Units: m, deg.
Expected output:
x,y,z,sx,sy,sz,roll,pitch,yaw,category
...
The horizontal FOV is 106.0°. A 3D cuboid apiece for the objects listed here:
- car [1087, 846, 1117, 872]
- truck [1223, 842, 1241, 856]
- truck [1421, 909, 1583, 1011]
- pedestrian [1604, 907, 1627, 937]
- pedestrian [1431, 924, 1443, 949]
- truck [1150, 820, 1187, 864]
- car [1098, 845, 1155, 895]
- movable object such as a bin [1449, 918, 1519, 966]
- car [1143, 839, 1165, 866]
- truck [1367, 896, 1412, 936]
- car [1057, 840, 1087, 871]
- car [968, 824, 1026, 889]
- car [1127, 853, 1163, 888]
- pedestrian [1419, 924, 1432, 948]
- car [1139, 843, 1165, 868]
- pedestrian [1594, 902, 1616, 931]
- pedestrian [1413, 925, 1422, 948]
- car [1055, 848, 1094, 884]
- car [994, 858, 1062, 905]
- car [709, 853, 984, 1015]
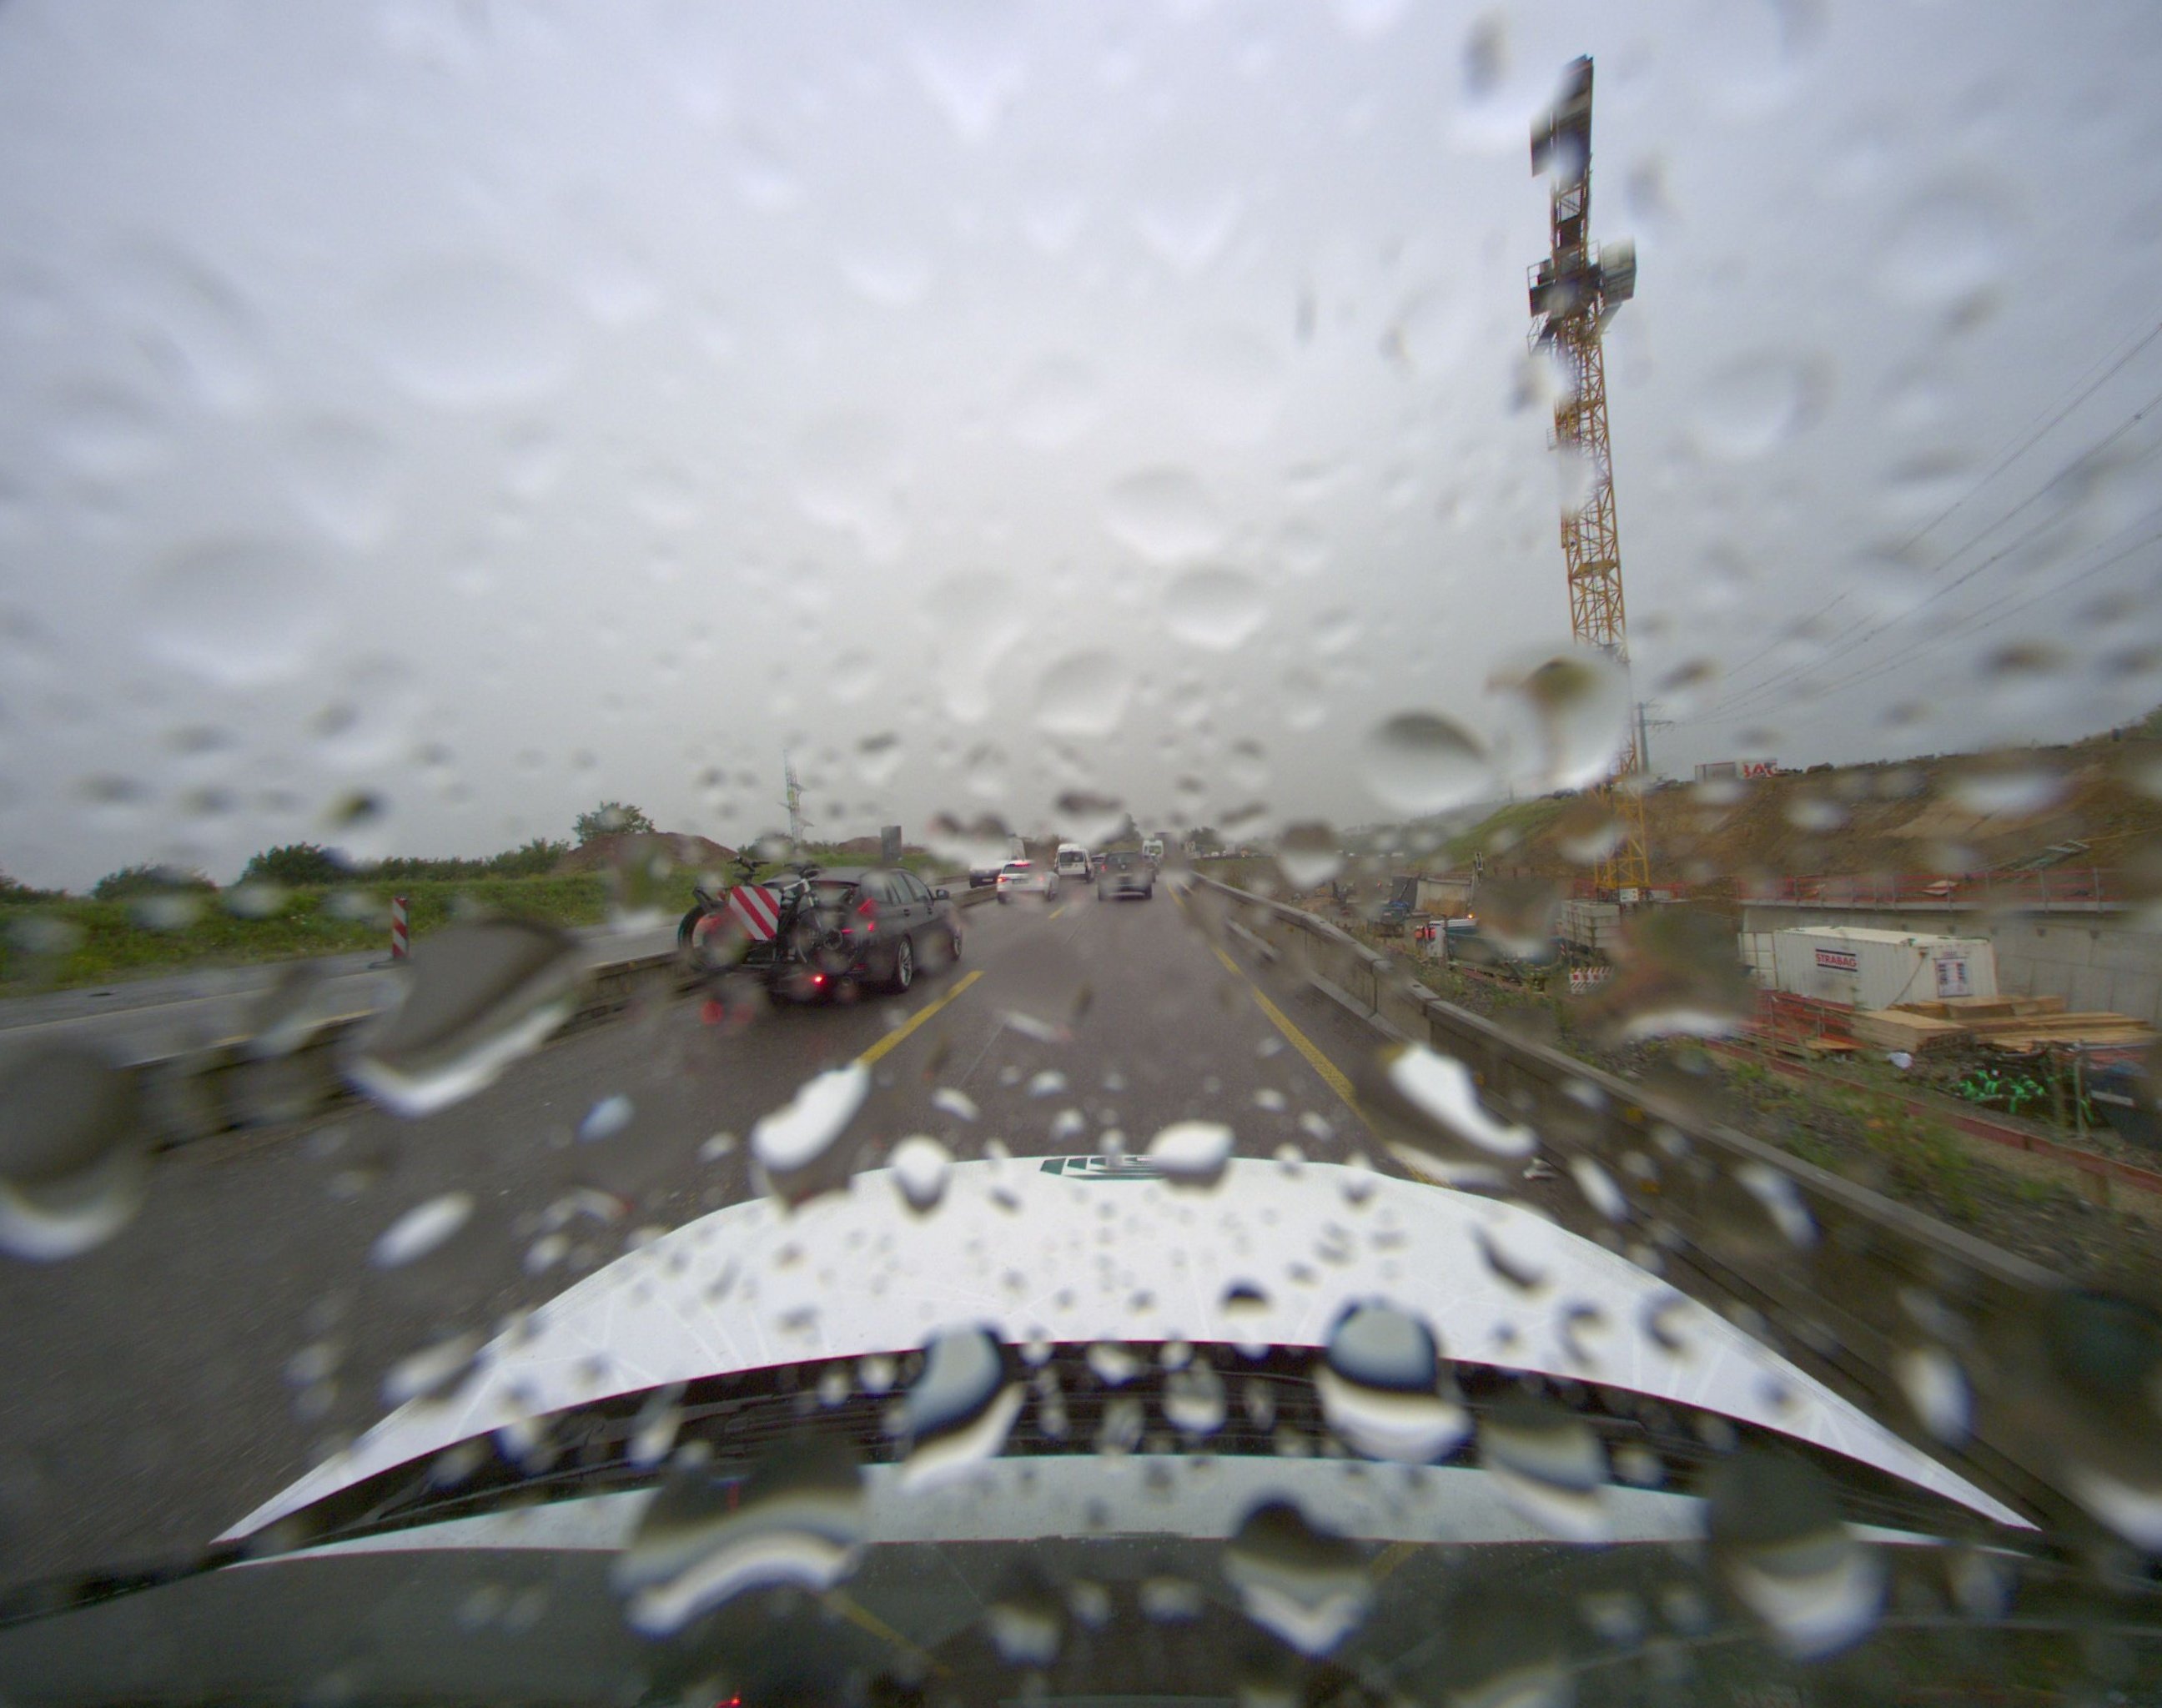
x,y,z,sx,sy,sz,roll,pitch,yaw,category
1.556,0.369,59.588,1.817,1.815,4.007,-1,-1,6,car
41.073,-1.306,220.599,3.444,3.715,8.458,-2,0,19,truck
18.563,4.509,36.761,2.690,3.503,8.947,-1,-1,0,truck
39.195,4.973,59.727,0.897,1.999,0.901,9,0,11,pedestrian
29.050,6.729,66.441,0.726,1.944,0.578,-2,-2,44,pedestrian
10.838,-1.312,99.905,3.521,5.077,10.471,-1,-1,10,truck
1.638,0.551,28.558,1.818,1.591,4.005,-1,-1,5,car
25.435,5.505,51.516,3.133,2.738,2.974,-1,-1,6,movable object such as a bin
6.991,-0.102,77.597,1.816,2.437,4.167,-1,-1,9,car
31.275,6.245,82.858,2.712,3.491,9.092,-1,-1,11,truck
-0.740,0.114,70.334,2.015,2.548,5.965,-2,0,4,car
-4.123,0.112,40.980,1.985,3.013,5.784,-1,0,3,car
3.525,0.873,44.282,1.817,1.815,4.006,-1,-1,5,car
28.412,6.748,67.104,0.575,1.944,0.730,-1,-1,-22,pedestrian
5.390,0.141,61.378,1.816,1.815,4.008,-1,-1,7,car
39.411,4.709,61.241,0.897,1.999,0.901,9,0,11,pedestrian
28.011,6.861,67.846,0.569,1.869,0.738,-1,-1,13,pedestrian
-0.304,0.631,43.853,1.819,1.815,4.002,-1,-1,3,car
-1.753,0.921,28.308,1.818,1.499,4.004,-1,-1,4,car
-2.685,0.796,10.962,1.727,1.462,5.635,-1,1,3,car
